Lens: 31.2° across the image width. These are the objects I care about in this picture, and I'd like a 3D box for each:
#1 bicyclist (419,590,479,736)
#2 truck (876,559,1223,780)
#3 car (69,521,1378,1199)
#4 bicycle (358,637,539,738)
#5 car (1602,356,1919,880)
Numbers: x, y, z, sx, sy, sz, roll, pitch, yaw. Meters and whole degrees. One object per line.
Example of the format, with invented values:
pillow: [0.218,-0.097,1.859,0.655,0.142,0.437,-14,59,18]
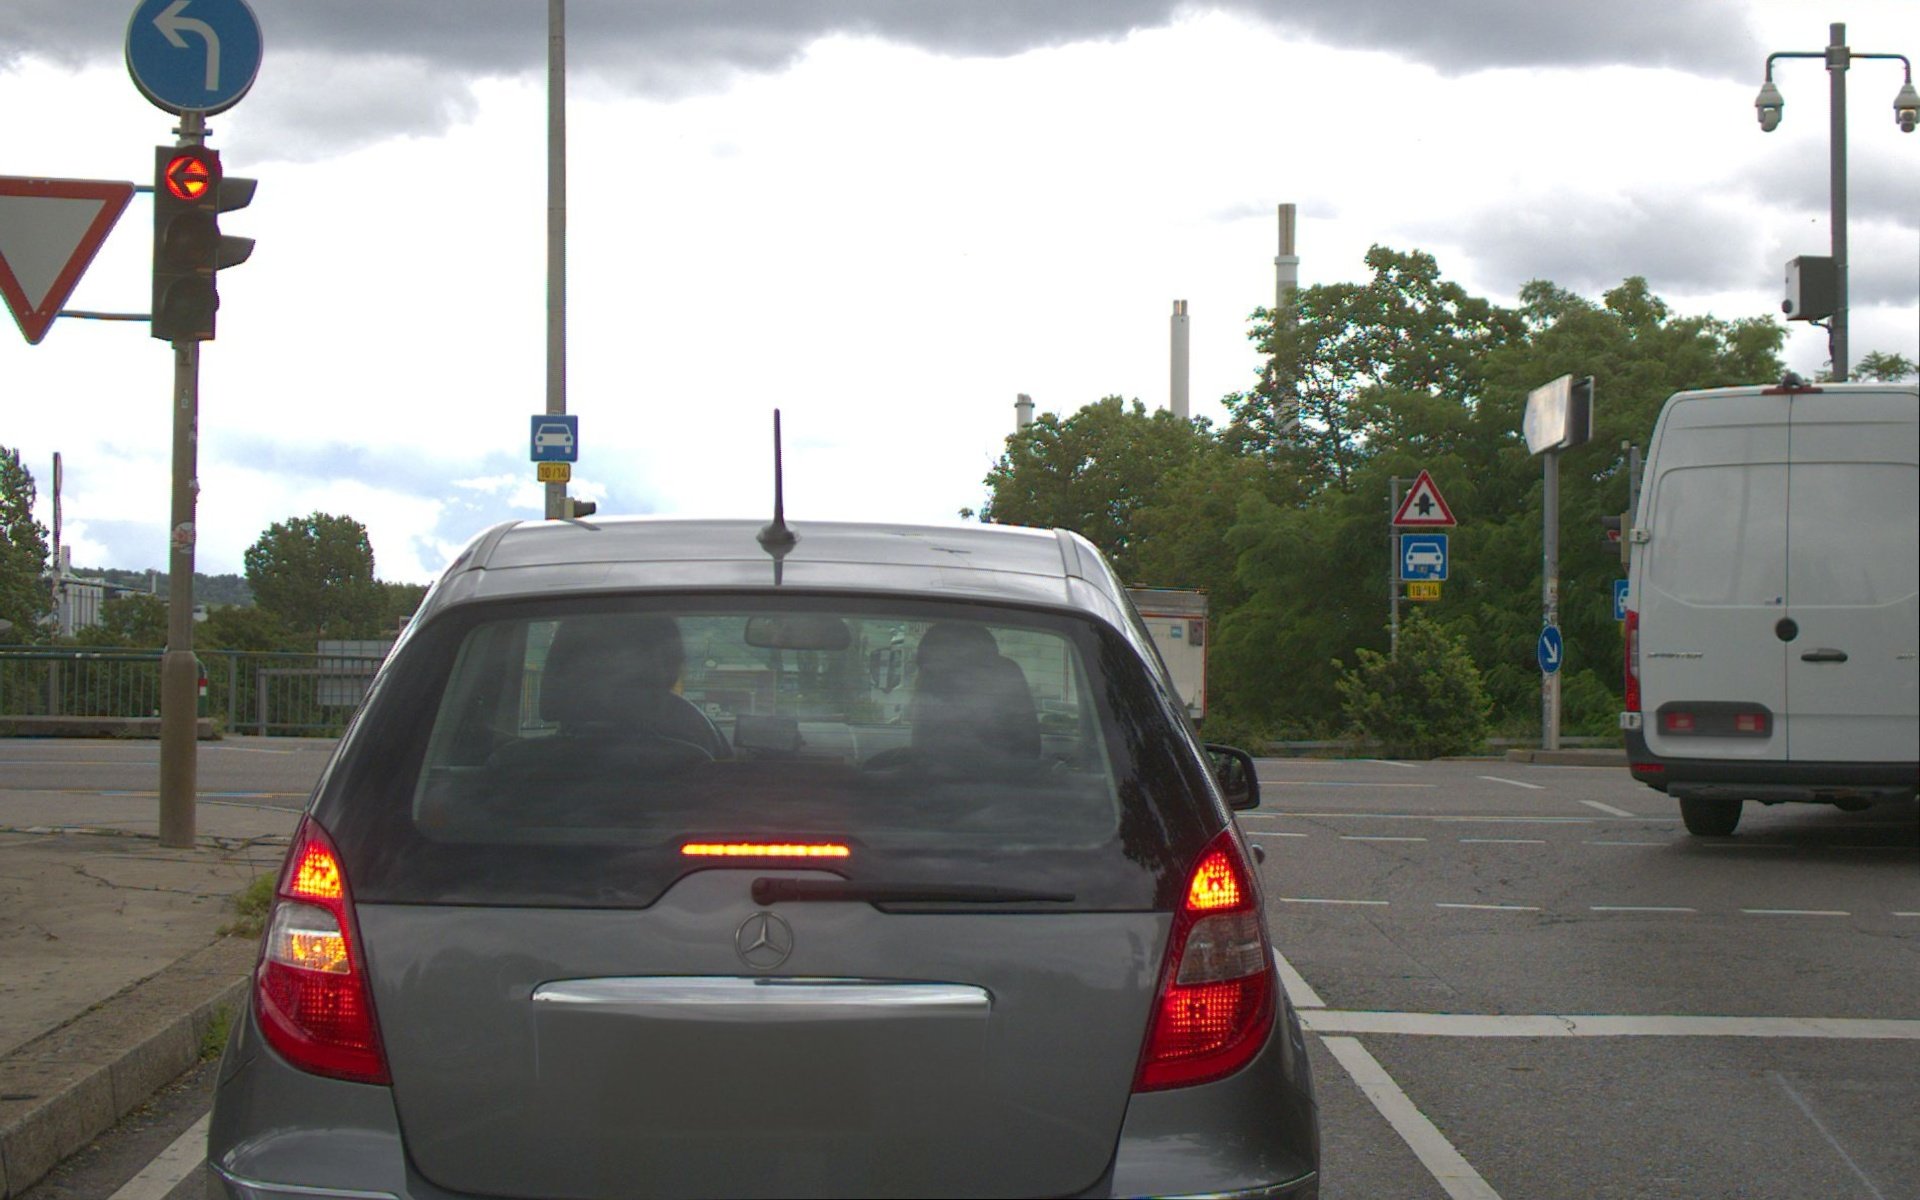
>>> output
bicyclist: [-5.953,0.724,40.057,0.653,1.668,0.870,0,1,-11]
truck: [1.381,1.077,61.550,2.788,3.506,10.251,0,1,-19]
car: [-0.286,0.646,6.884,1.858,1.583,4.000,0,2,2]
bicycle: [-5.965,1.009,40.049,2.032,1.121,0.929,0,1,-11]
car: [6.041,0.020,21.488,2.113,2.774,6.770,1,1,27]
